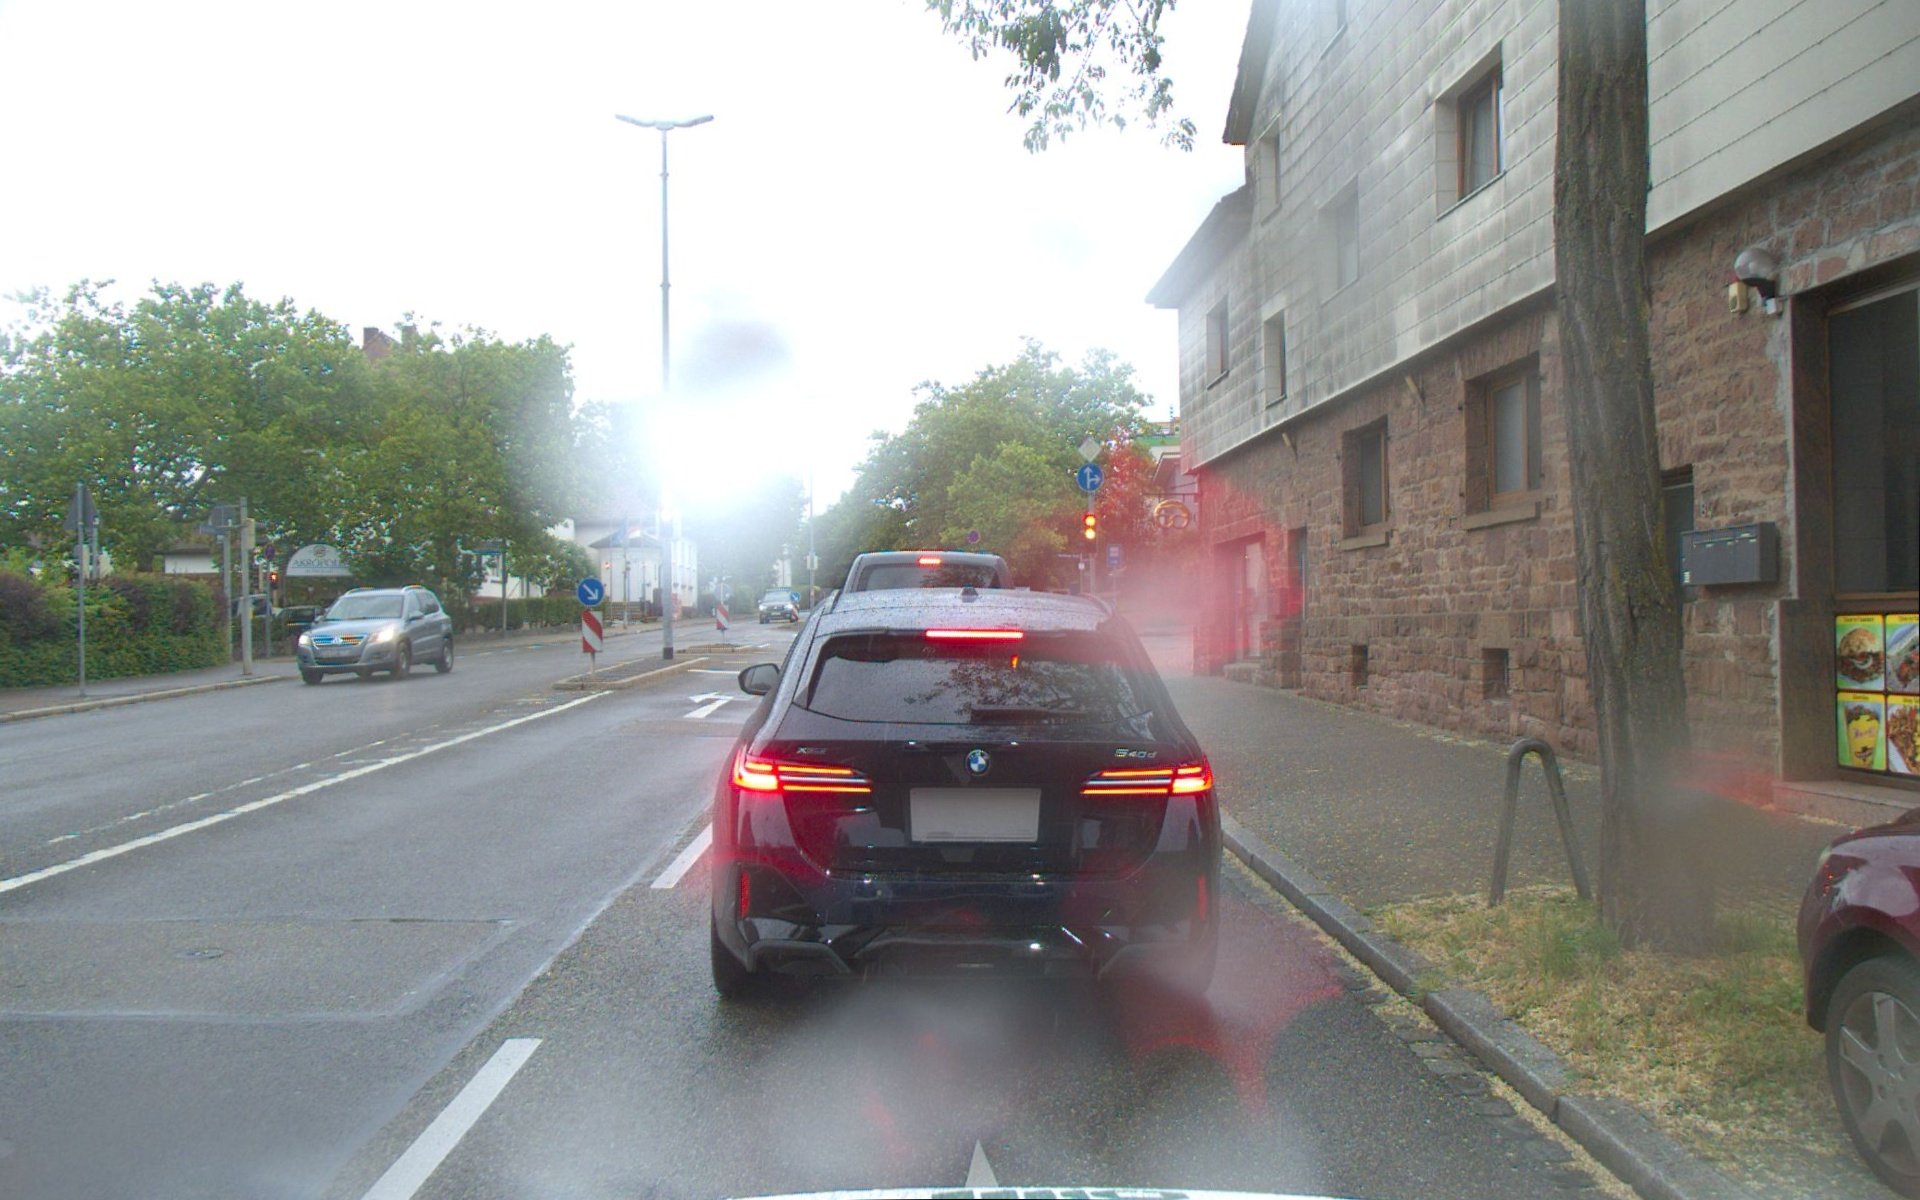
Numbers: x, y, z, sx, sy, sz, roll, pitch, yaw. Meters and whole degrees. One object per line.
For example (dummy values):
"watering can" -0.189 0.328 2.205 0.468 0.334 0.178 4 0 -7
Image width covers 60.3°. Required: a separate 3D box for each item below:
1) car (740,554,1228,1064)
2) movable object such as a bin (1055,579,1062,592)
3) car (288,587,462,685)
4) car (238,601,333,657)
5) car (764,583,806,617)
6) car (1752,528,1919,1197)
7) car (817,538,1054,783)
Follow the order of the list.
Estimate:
"car" -0.028 0.658 6.885 1.494 1.561 3.529 1 0 -4
"movable object such as a bin" 6.877 -0.997 115.372 0.440 0.921 0.463 1 -1 14
"car" -10.672 0.605 30.502 1.870 1.618 4.314 -2 0 -4
"car" -23.137 0.972 56.877 1.772 1.578 4.000 1 4 -3
"car" -8.698 -0.040 82.498 1.861 1.604 4.499 -1 1 -4
"car" 3.065 0.576 2.689 1.578 1.530 3.753 1 -2 -4
"car" -0.302 0.475 14.470 1.776 1.840 3.753 1 0 -4
